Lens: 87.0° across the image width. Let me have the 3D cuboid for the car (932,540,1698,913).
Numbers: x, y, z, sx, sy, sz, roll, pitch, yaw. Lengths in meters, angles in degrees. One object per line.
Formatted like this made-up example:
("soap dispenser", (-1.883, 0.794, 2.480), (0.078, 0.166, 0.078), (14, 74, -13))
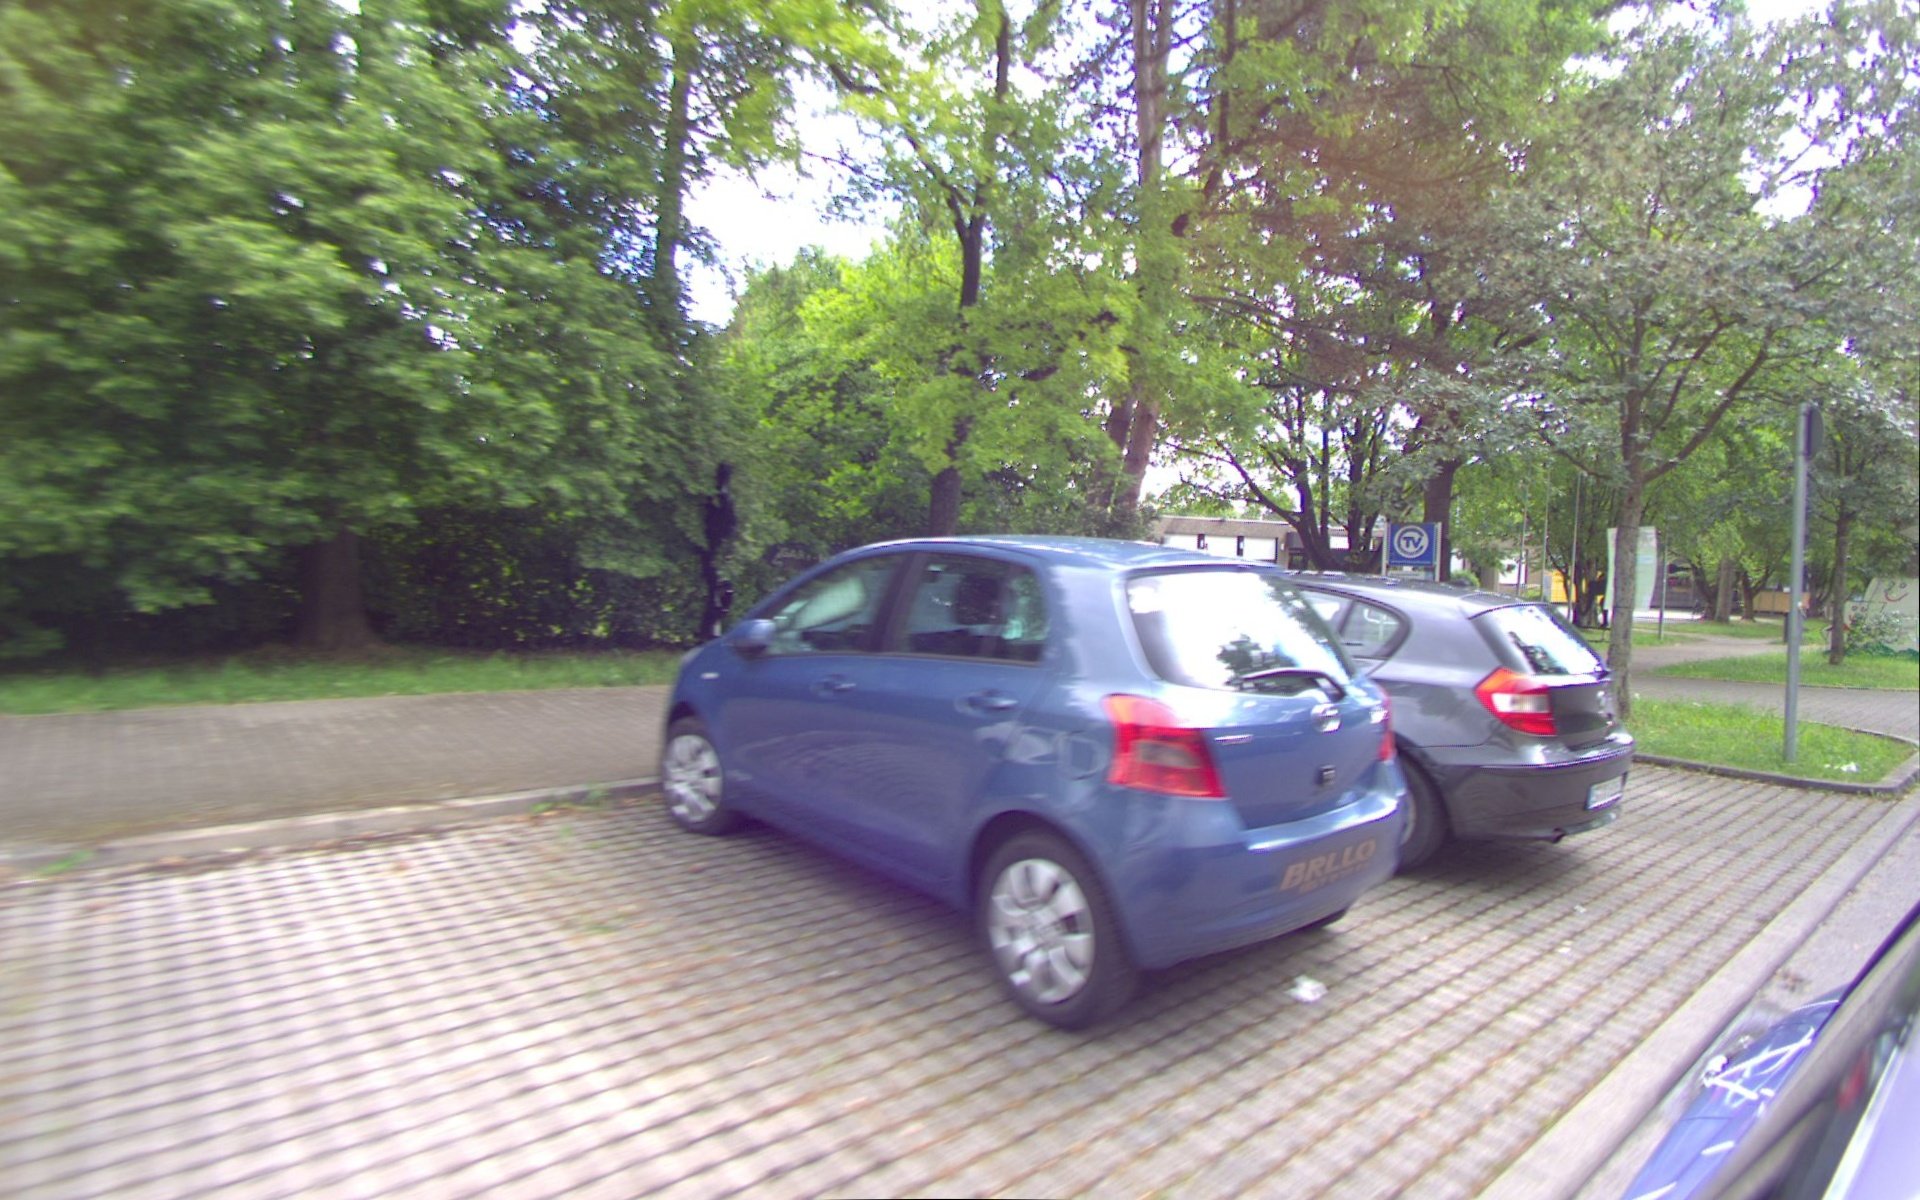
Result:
("car", (1.823, 0.423, 6.236), (1.755, 1.482, 4.094), (0, 3, -41))

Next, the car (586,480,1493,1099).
("car", (-0.072, 0.373, 4.724), (1.755, 1.589, 4.143), (0, 3, -41))
